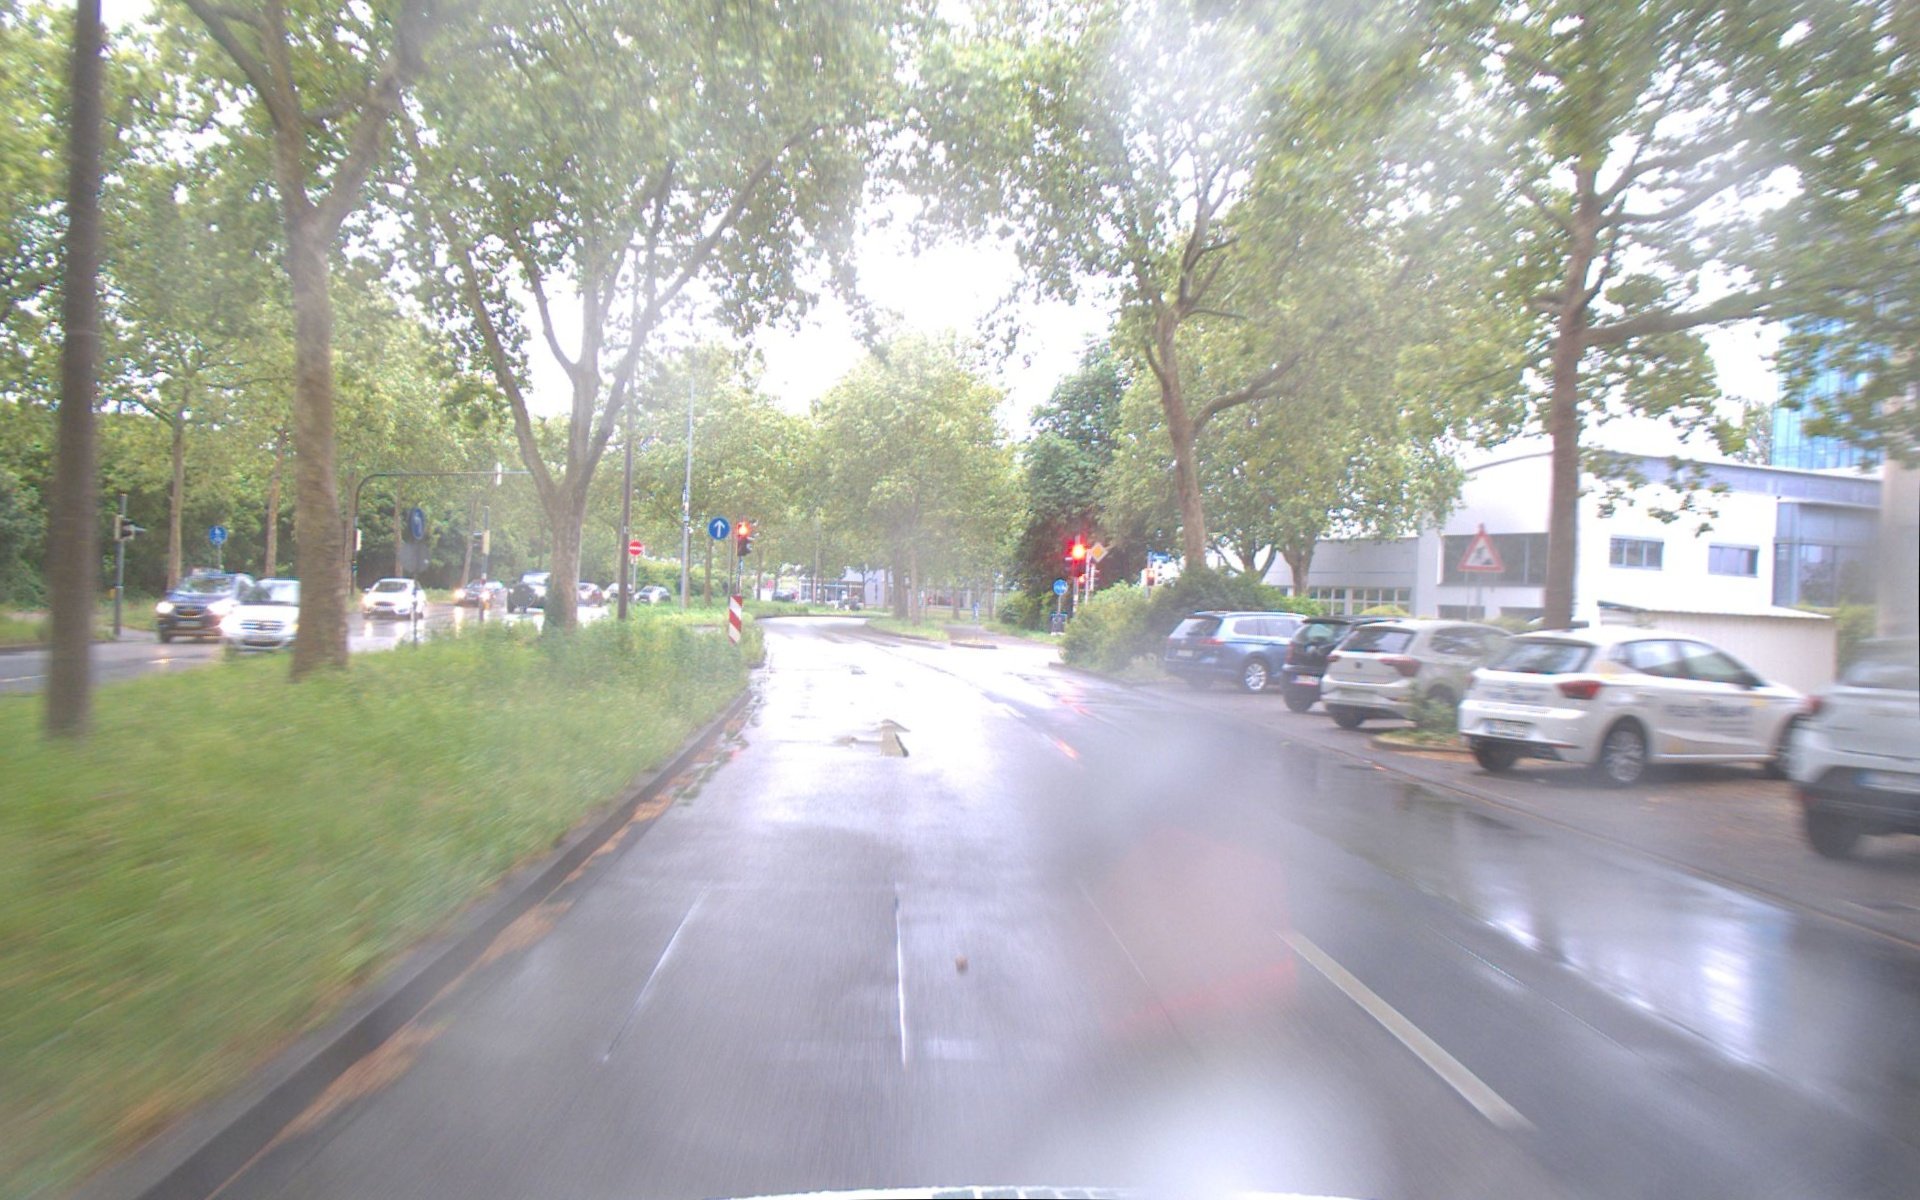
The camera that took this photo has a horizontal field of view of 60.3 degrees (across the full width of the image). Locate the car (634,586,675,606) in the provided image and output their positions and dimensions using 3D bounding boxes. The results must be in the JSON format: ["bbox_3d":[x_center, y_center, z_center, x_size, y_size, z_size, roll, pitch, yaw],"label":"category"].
[{"bbox_3d":[-22.199,-0.278,120.153,1.553,1.397,4.265,2,0,9],"label":"car"}]

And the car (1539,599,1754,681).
[{"bbox_3d":[16.376,0.950,39.523,4.450,1.788,1.746,2,0,-7],"label":"car"}]

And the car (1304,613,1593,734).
[{"bbox_3d":[6.547,0.957,22.096,3.646,1.441,1.756,2,0,-33],"label":"car"}]

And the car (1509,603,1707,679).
[{"bbox_3d":[16.604,1.044,42.456,4.454,1.788,1.777,2,0,-10],"label":"car"}]

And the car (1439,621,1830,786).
[{"bbox_3d":[6.767,0.987,16.552,3.640,1.441,1.732,2,0,-29],"label":"car"}]

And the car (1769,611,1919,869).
[{"bbox_3d":[7.501,0.917,11.380,3.990,1.566,1.728,2,0,-34],"label":"car"}]

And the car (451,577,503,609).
[{"bbox_3d":[-24.363,-0.348,83.620,1.709,1.502,4.230,2,0,-6],"label":"car"}]

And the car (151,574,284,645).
[{"bbox_3d":[-18.279,0.221,40.914,1.709,1.619,4.205,2,0,-6],"label":"car"}]

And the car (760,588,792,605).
[{"bbox_3d":[-24.688,-0.484,222.056,3.921,2.049,1.991,2,-2,-16],"label":"car"}]

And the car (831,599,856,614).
[{"bbox_3d":[-11.726,0.651,166.302,1.553,1.397,4.265,2,0,9],"label":"car"}]

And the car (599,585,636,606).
[{"bbox_3d":[-23.301,-0.301,112.660,1.554,1.397,3.335,2,0,4],"label":"car"}]

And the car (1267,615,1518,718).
[{"bbox_3d":[6.655,1.005,25.380,3.646,1.441,1.730,2,0,-33],"label":"car"}]

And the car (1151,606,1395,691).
[{"bbox_3d":[5.921,0.916,31.116,4.432,1.484,1.732,2,0,-29],"label":"car"}]

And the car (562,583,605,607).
[{"bbox_3d":[-23.658,-0.325,103.966,1.708,1.432,4.443,2,0,-1],"label":"car"}]

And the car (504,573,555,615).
[{"bbox_3d":[-20.432,-0.303,78.664,1.710,1.874,5.111,2,0,-8],"label":"car"}]

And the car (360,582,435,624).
[{"bbox_3d":[-21.265,0.098,62.629,1.709,1.502,4.230,2,0,-6],"label":"car"}]

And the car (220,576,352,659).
[{"bbox_3d":[-14.153,0.340,34.957,1.712,1.619,4.319,2,0,-11],"label":"car"}]
